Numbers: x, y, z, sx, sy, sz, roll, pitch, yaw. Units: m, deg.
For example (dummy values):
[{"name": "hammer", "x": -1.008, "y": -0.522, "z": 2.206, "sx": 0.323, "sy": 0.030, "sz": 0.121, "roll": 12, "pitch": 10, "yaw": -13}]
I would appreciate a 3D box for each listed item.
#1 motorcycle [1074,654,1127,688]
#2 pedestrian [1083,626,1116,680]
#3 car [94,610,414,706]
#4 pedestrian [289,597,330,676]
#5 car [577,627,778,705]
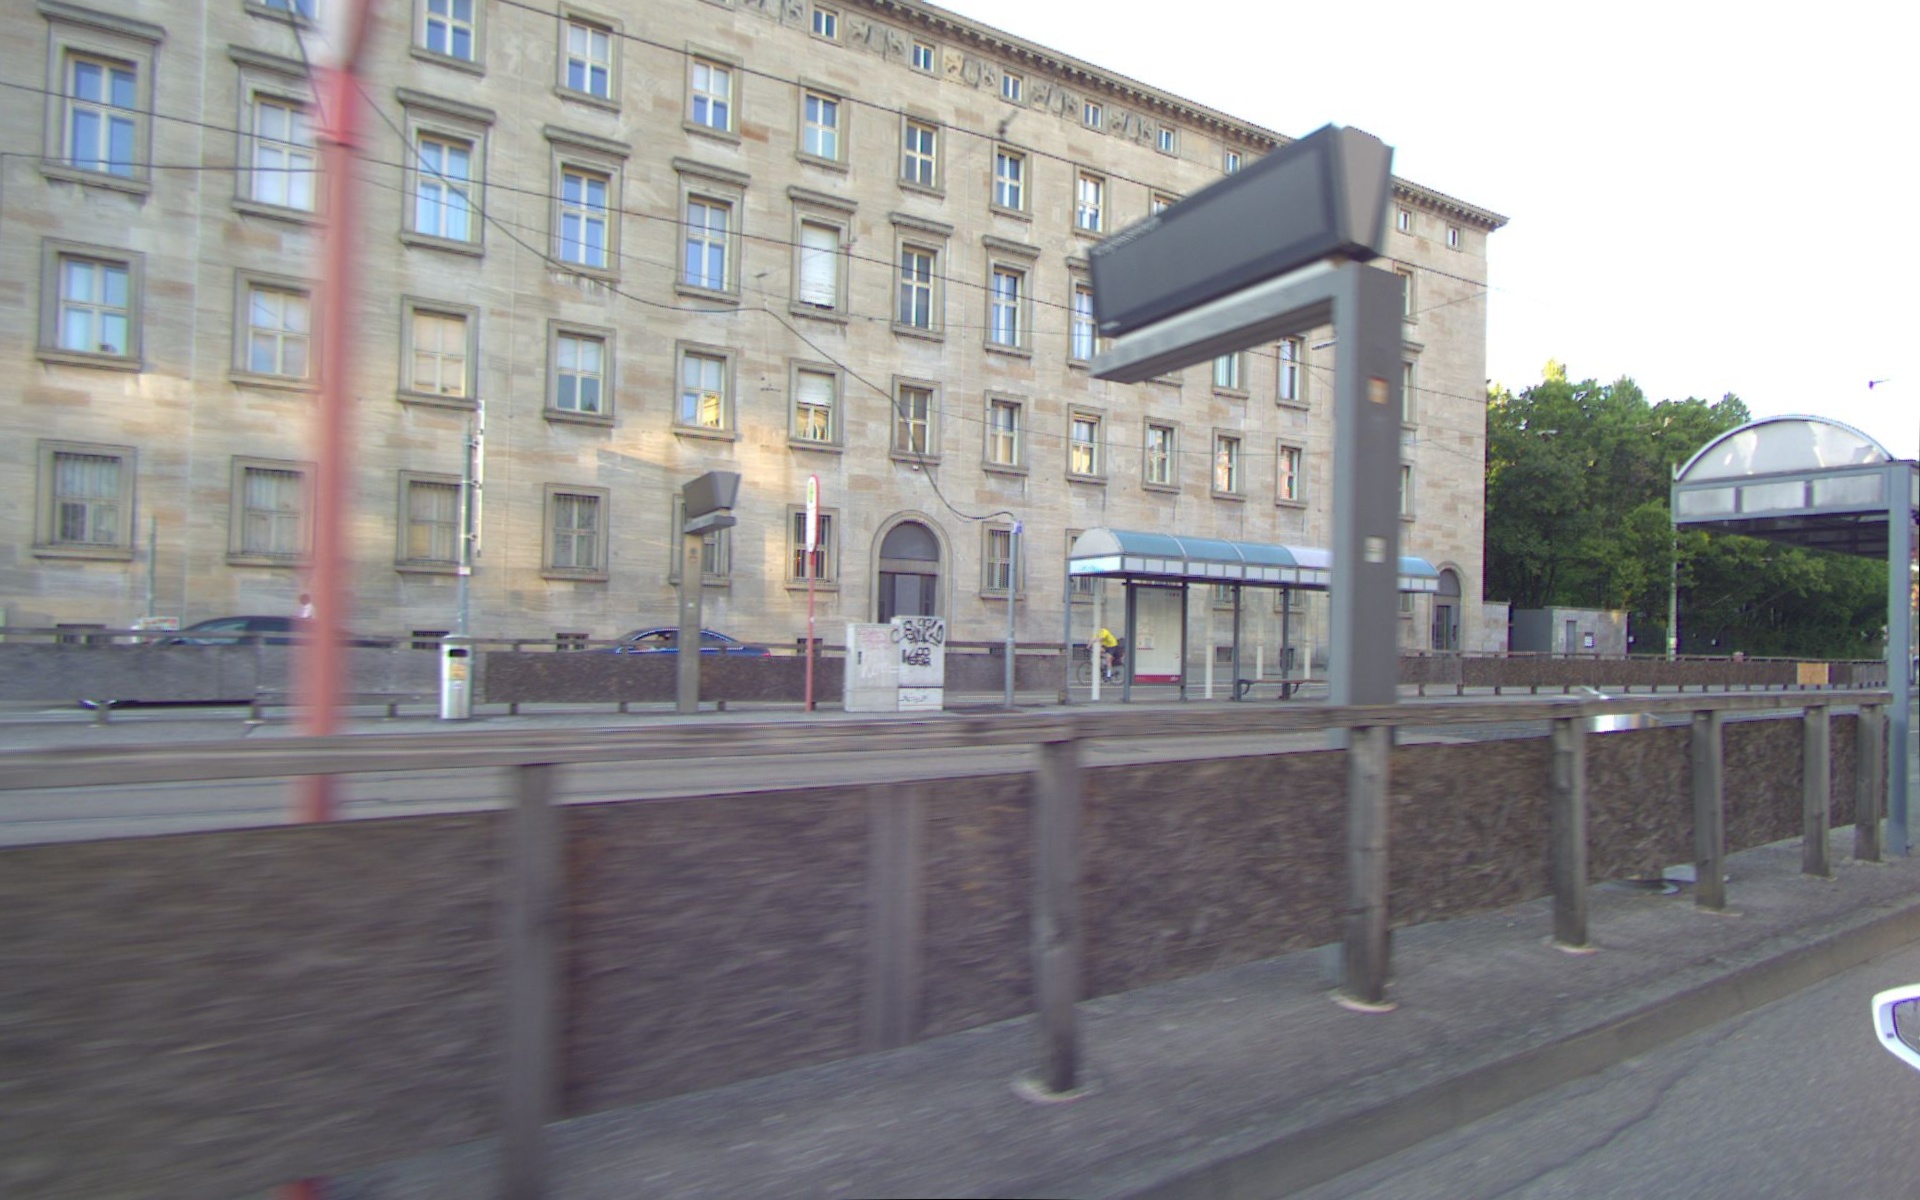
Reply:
[{"name": "motorcycle", "x": 3.996, "y": 2.010, "z": 28.501, "sx": 1.492, "sy": 0.940, "sz": 0.475, "roll": 2, "pitch": -1, "yaw": -29}, {"name": "pedestrian", "x": 3.955, "y": 1.507, "z": 28.456, "sx": 0.767, "sy": 1.490, "sz": 0.471, "roll": 2, "pitch": -1, "yaw": -29}, {"name": "car", "x": -11.557, "y": 0.961, "z": 16.844, "sx": 4.181, "sy": 1.446, "sz": 1.635, "roll": 2, "pitch": -2, "yaw": -29}, {"name": "pedestrian", "x": -14.637, "y": 0.813, "z": 22.609, "sx": 0.637, "sy": 1.732, "sz": 0.693, "roll": 2, "pitch": -1, "yaw": -26}, {"name": "car", "x": -5.754, "y": 1.327, "z": 20.539, "sx": 3.660, "sy": 1.446, "sz": 1.635, "roll": 2, "pitch": -2, "yaw": -29}]
